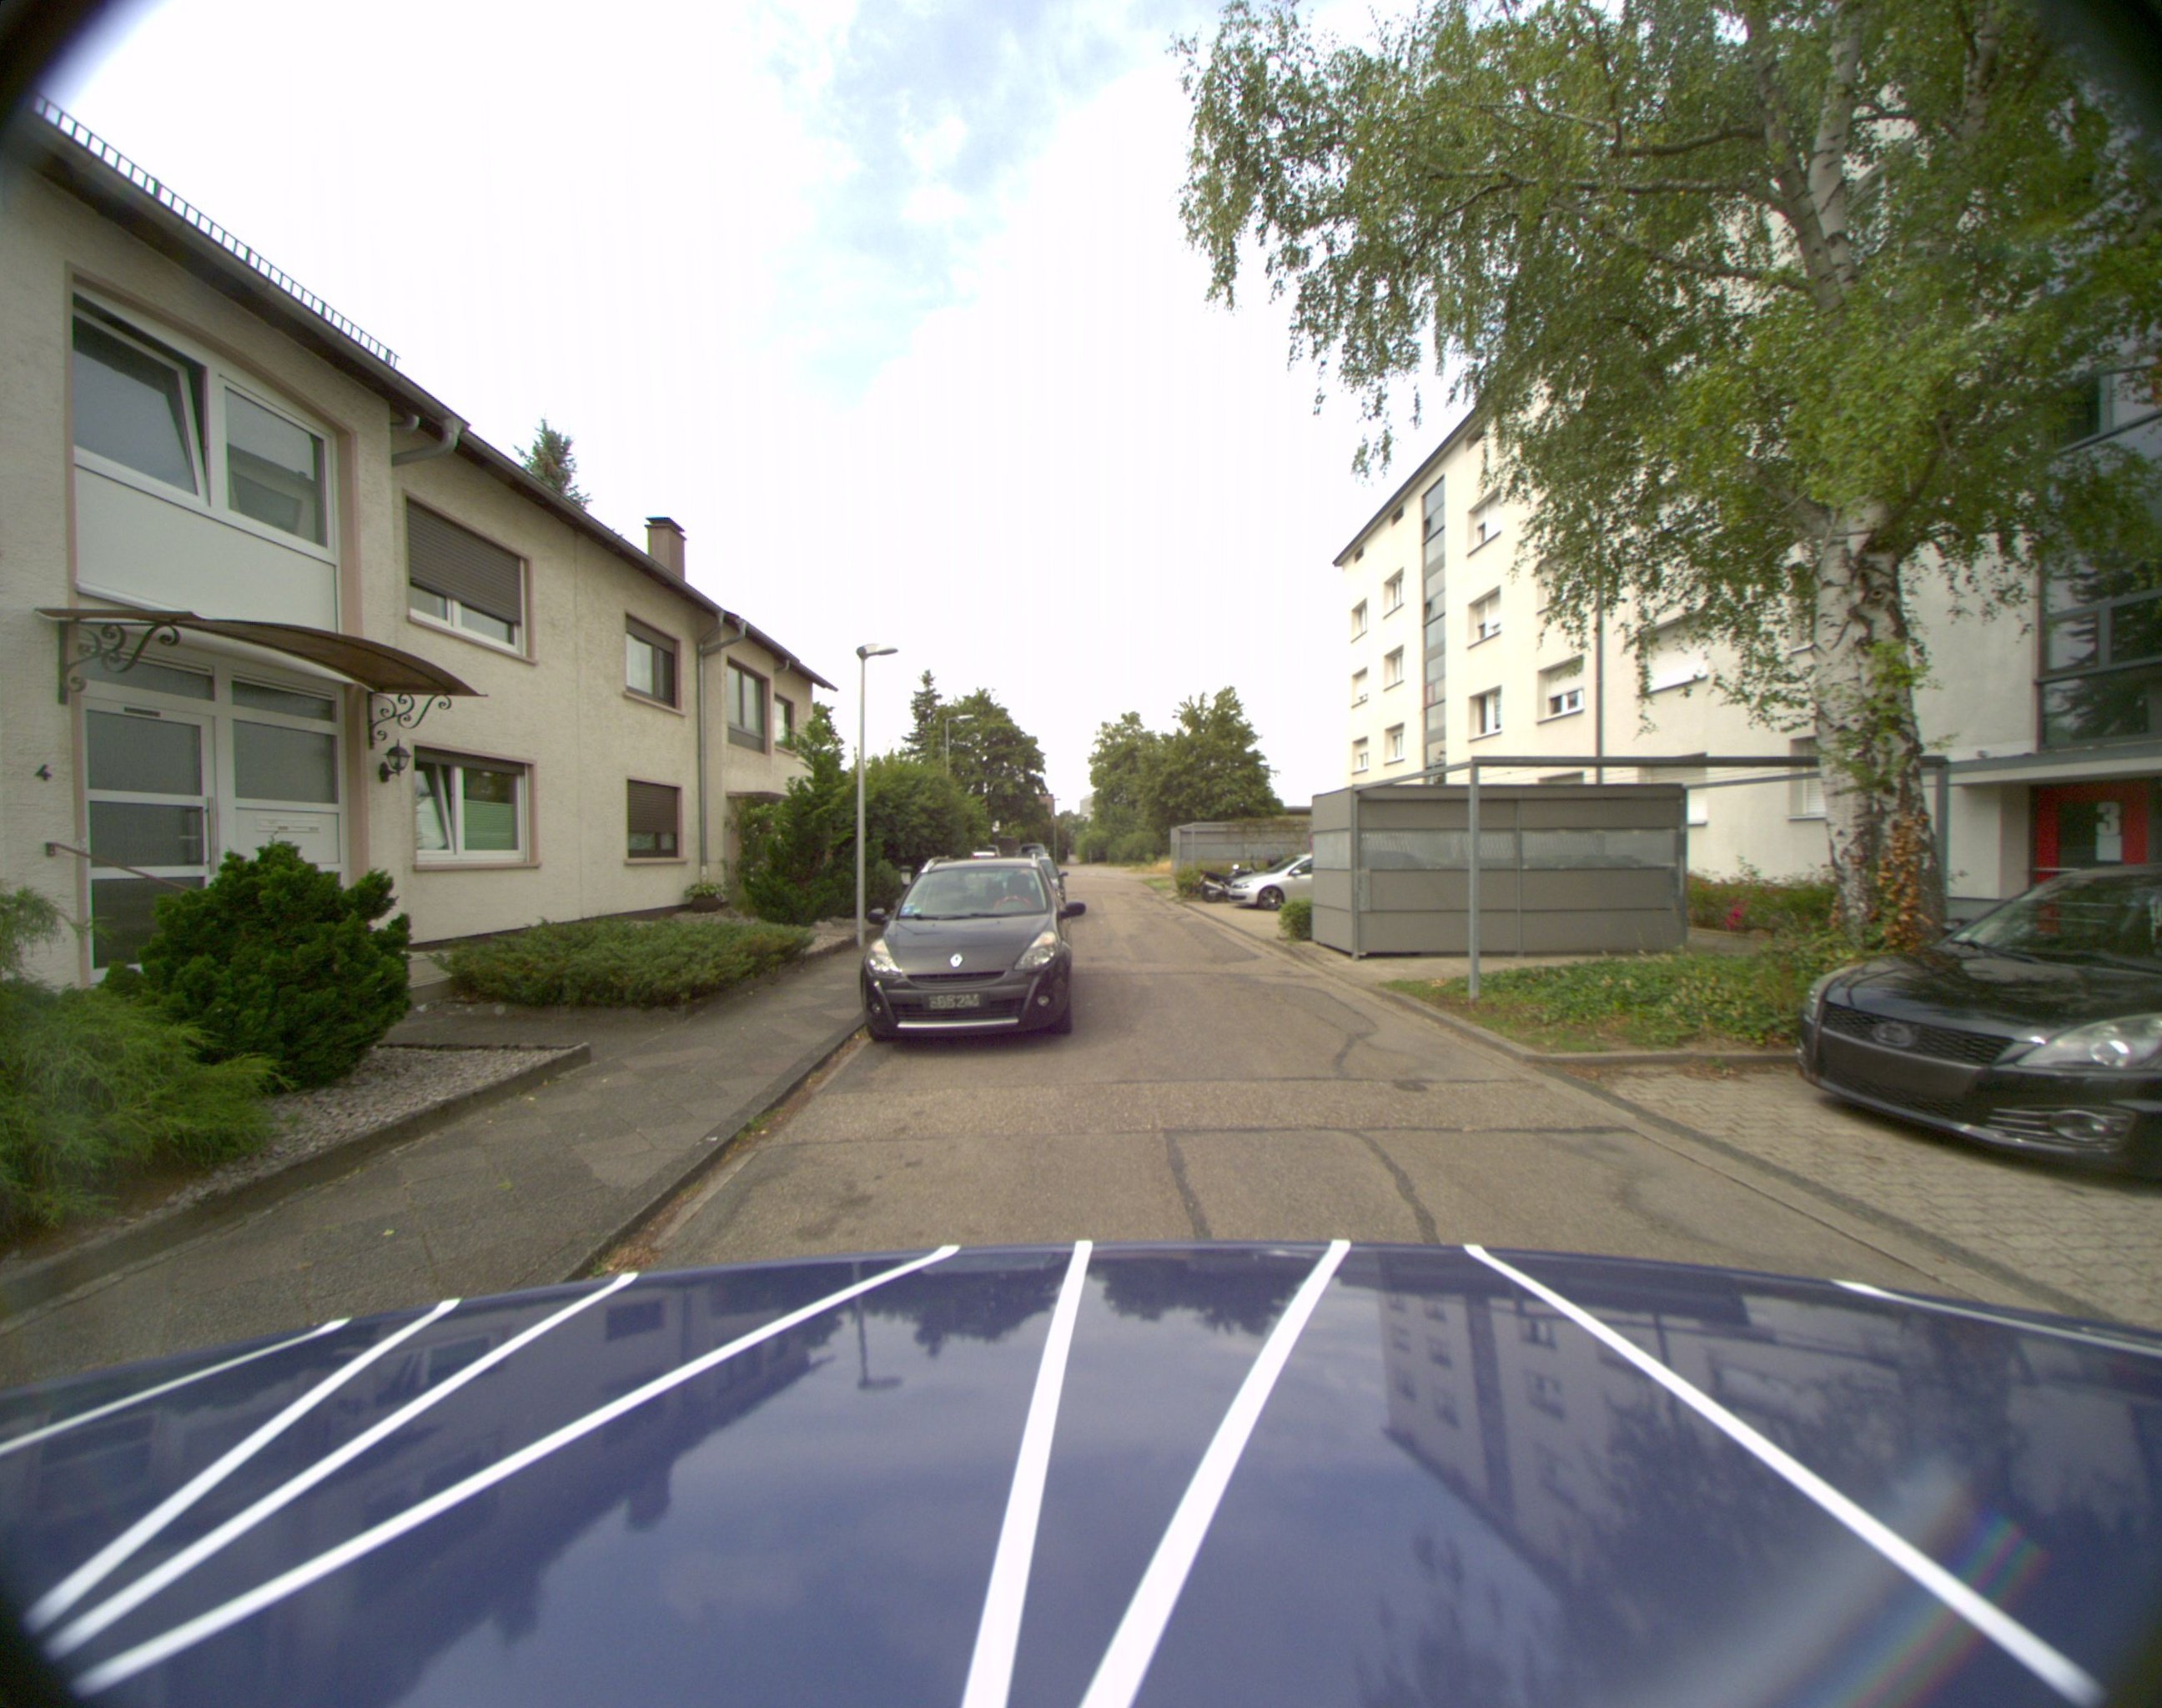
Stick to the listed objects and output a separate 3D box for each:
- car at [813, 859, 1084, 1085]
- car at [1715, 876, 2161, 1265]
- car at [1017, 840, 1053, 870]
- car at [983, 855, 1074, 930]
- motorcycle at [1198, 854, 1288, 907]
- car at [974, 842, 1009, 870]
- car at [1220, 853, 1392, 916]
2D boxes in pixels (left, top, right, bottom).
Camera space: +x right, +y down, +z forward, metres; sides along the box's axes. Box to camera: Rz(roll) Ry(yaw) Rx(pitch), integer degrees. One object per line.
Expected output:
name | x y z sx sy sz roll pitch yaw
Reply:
car | -1.015 0.834 7.397 1.834 1.449 4.188 -2 1 -3
car | 6.096 0.907 3.985 4.062 1.496 1.781 0 1 -1
car | -2.605 0.024 43.160 1.926 1.576 3.998 -2 1 -3
car | -1.179 0.785 17.673 1.834 1.449 4.188 -2 1 -3
motorcycle | 4.672 0.752 22.007 2.383 1.456 0.714 1 1 -1
car | -5.106 0.079 43.741 1.705 1.458 3.997 0 2 -3
car | 5.921 0.781 20.354 3.997 1.477 1.902 1 1 1
